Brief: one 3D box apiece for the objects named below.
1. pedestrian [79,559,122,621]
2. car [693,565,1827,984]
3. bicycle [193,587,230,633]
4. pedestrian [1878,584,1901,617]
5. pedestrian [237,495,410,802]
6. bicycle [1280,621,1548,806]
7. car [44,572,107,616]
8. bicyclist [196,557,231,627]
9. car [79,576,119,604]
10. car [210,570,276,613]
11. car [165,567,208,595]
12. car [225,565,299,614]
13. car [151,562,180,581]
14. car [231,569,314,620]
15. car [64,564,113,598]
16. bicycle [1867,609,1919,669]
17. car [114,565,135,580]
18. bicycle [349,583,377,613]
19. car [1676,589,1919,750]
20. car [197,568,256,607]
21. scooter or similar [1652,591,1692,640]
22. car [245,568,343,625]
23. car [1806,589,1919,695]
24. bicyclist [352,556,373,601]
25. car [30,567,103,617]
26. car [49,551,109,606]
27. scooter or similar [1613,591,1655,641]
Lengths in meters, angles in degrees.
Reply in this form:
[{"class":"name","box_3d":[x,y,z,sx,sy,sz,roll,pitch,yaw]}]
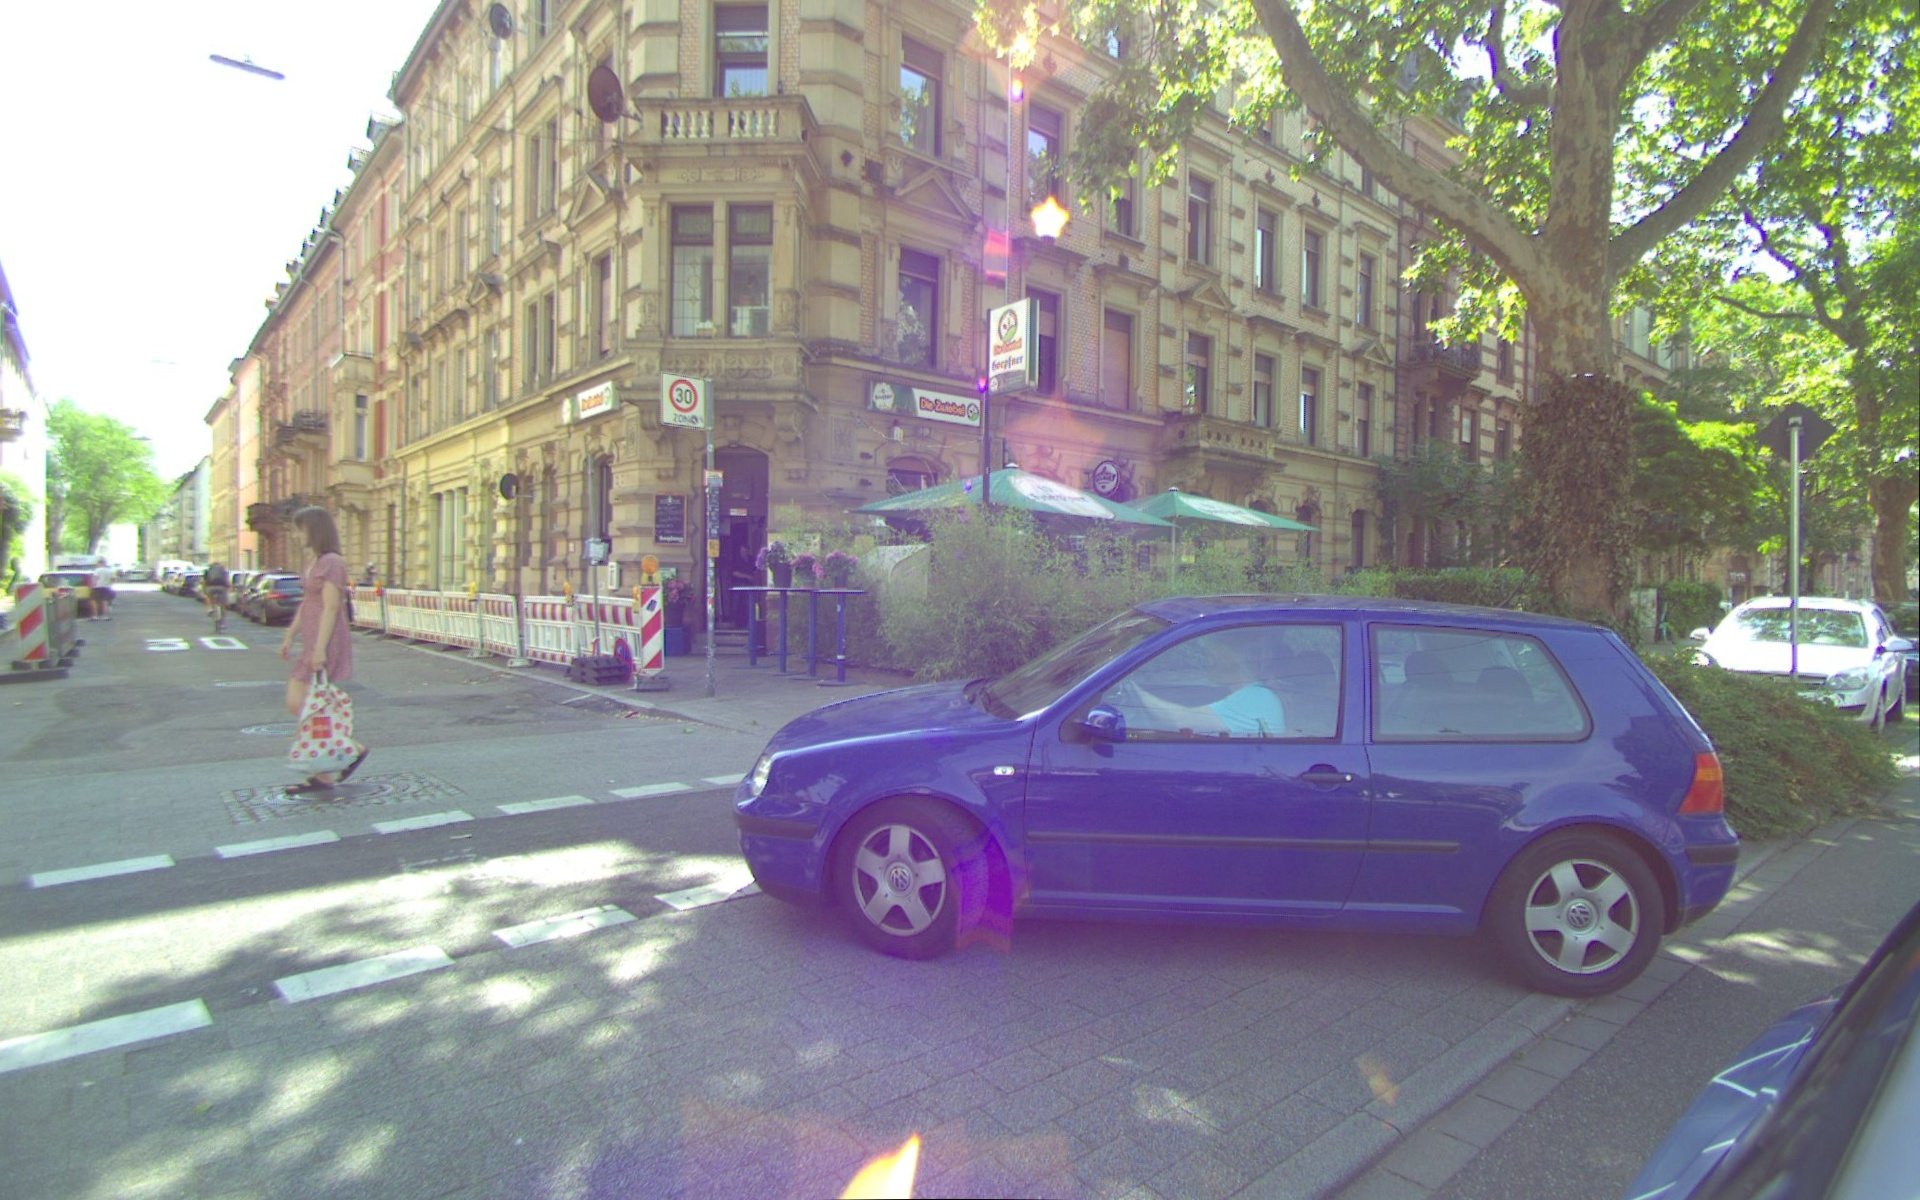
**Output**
[{"class":"pedestrian","box_3d":[-25.955,-0.302,30.558,0.921,1.821,1.036,0,1,-44]},{"class":"car","box_3d":[1.054,0.593,4.582,4.017,1.427,1.887,1,1,2]},{"class":"bicycle","box_3d":[-18.093,0.221,24.456,0.523,1.062,1.922,0,1,-42]},{"class":"pedestrian","box_3d":[49.722,0.022,54.132,0.951,1.740,0.796,0,1,-41]},{"class":"pedestrian","box_3d":[-4.103,0.278,6.525,0.837,1.807,0.737,0,1,-41]},{"class":"bicycle","box_3d":[2.925,0.712,6.556,1.583,1.119,0.423,1,1,-8]},{"class":"car","box_3d":[-32.767,-0.244,37.511,1.698,1.548,3.489,0,1,-42]},{"class":"bicyclist","box_3d":[-17.986,-0.200,24.381,0.614,1.643,0.693,0,1,-43]},{"class":"car","box_3d":[-56.360,-0.690,66.278,1.879,1.731,4.158,0,1,-39]},{"class":"car","box_3d":[-30.556,-0.395,43.078,1.965,1.760,3.995,0,1,-41]},{"class":"car","box_3d":[-49.535,-1.213,64.781,1.965,1.760,3.995,0,1,-41]},{"class":"car","box_3d":[-26.877,-0.430,38.914,1.965,1.760,3.995,0,1,-41]},{"class":"car","box_3d":[-74.218,-2.642,94.548,1.965,1.760,3.994,0,1,-41]},{"class":"car","box_3d":[-23.877,-0.224,35.088,1.965,1.660,3.995,0,1,-41]},{"class":"car","box_3d":[-47.087,-1.041,54.725,1.879,1.731,4.158,0,1,-39]},{"class":"bicycle","box_3d":[18.301,0.746,19.149,1.615,1.102,0.469,1,1,17]},{"class":"car","box_3d":[-103.456,-3.411,125.330,1.965,1.760,3.995,0,1,-41]},{"class":"bicycle","box_3d":[-19.795,-0.074,33.547,0.530,0.991,1.306,0,1,-44]},{"class":"car","box_3d":[10.091,0.653,11.997,4.418,1.527,1.835,0,2,-44]},{"class":"car","box_3d":[-34.795,-0.605,47.956,1.965,1.760,3.995,0,1,-41]},{"class":"scooter or similar","box_3d":[19.396,0.406,27.559,1.124,1.298,0.583,0,1,-39]},{"class":"car","box_3d":[-19.960,-0.150,30.257,1.965,1.571,3.995,0,1,-41]},{"class":"car","box_3d":[15.480,0.607,16.492,4.561,1.527,1.837,0,2,-40]},{"class":"bicyclist","box_3d":[-19.833,-0.718,33.592,0.524,1.471,0.460,0,1,-44]},{"class":"car","box_3d":[-29.219,-0.293,33.128,1.698,1.548,3.489,0,1,-41]},{"class":"car","box_3d":[-39.964,-0.976,45.993,1.879,2.403,4.243,0,1,-39]},{"class":"scooter or similar","box_3d":[17.273,0.398,25.927,1.124,1.263,0.583,0,1,-40]}]
